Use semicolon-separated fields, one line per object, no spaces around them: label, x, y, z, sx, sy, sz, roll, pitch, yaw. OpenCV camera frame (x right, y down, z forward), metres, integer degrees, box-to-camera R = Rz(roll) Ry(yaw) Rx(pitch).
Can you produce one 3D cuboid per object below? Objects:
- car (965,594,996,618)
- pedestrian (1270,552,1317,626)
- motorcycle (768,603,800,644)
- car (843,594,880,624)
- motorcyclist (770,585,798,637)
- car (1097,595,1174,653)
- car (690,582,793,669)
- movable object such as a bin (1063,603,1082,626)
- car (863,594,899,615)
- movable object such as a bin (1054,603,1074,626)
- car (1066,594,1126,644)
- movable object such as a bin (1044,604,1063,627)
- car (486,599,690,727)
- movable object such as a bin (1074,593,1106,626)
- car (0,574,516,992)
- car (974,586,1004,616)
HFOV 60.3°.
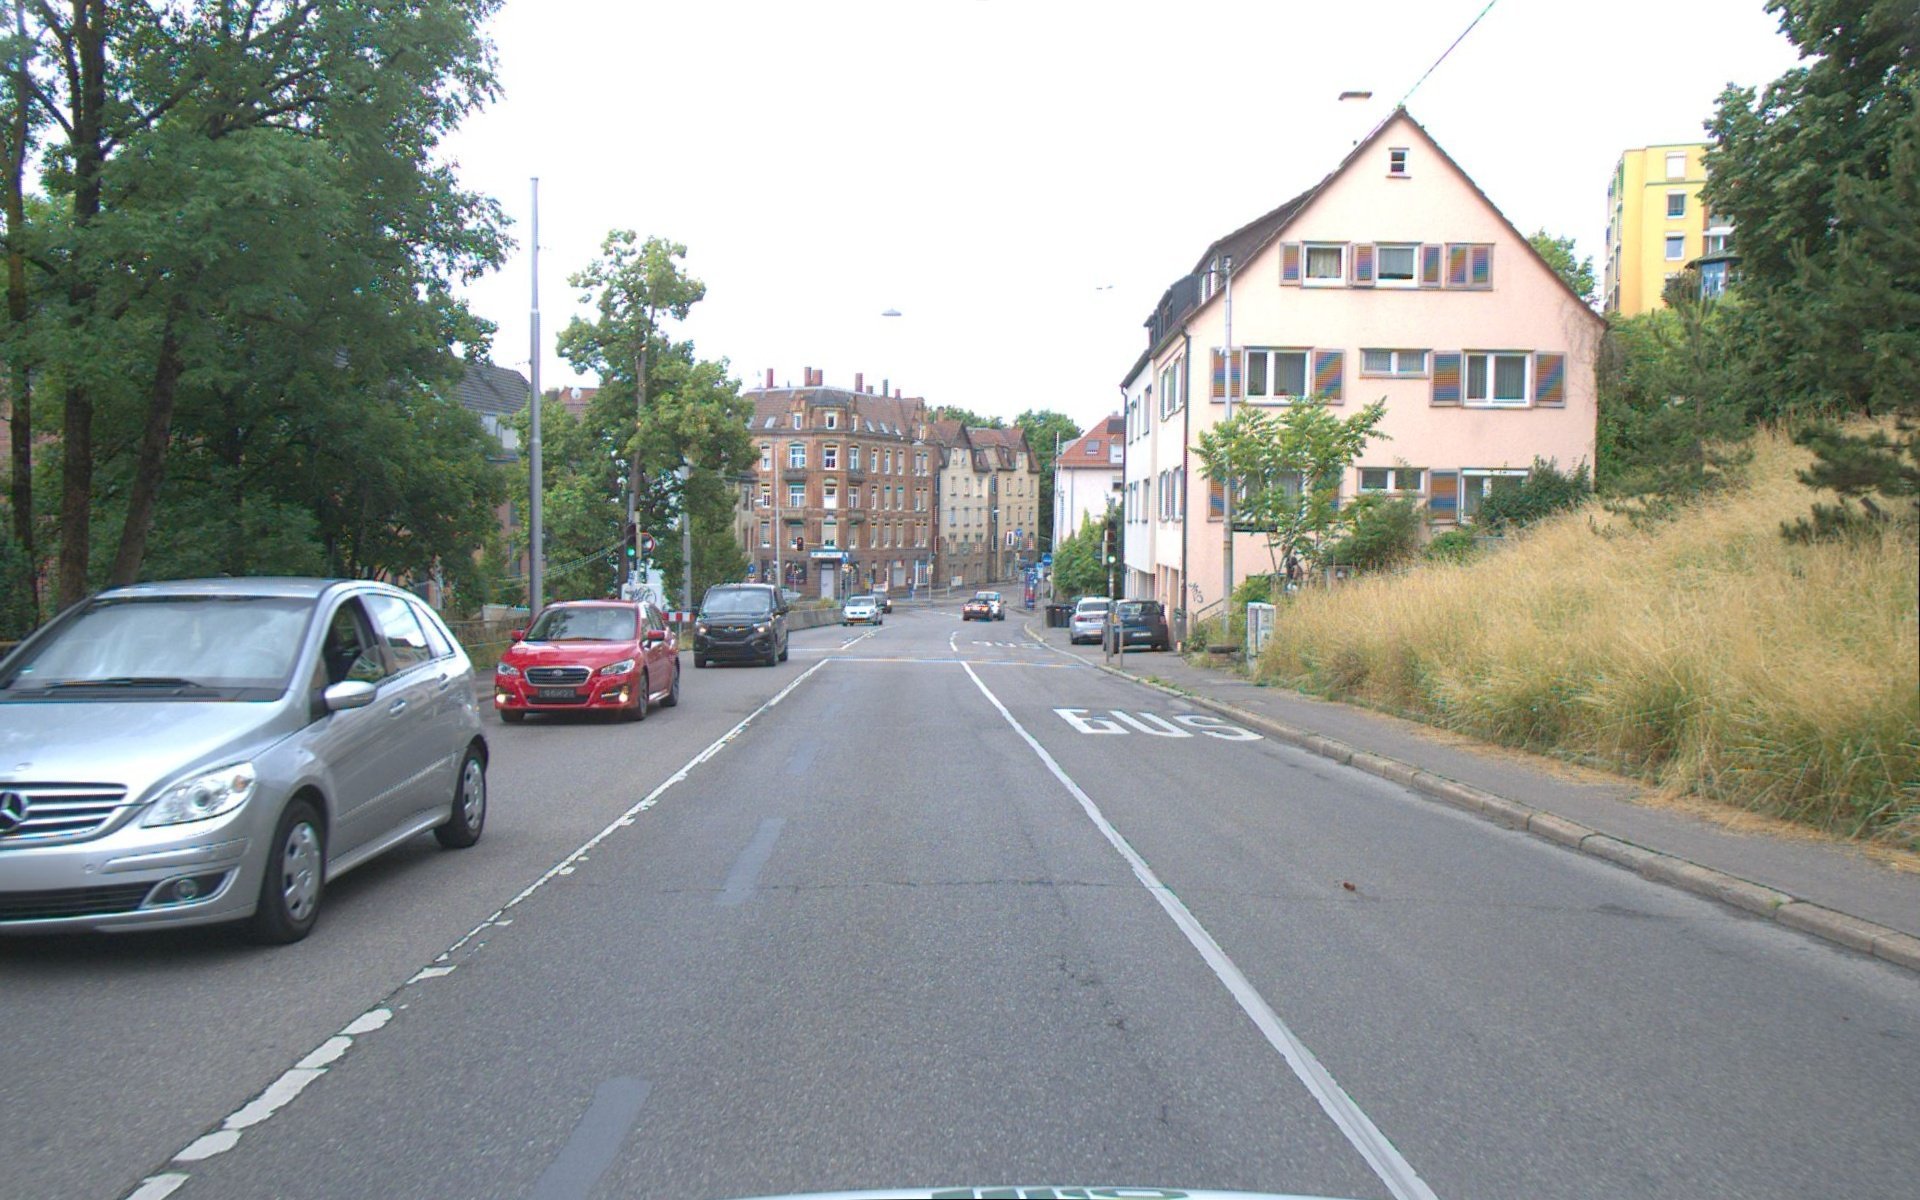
car;1.372;0.387;107.368;1.778;1.455;4.002;2;0;3
pedestrian;8.053;-0.261;39.964;0.869;1.725;0.872;2;-1;-5
motorcycle;-5.249;0.693;49.420;0.769;1.165;2.056;-1;0;-1
car;-4.933;0.449;83.588;1.685;1.470;4.158;-1;0;-1
motorcyclist;-5.252;0.327;49.430;0.769;1.542;0.668;-1;0;-2
car;4.967;0.666;47.156;1.647;1.476;3.999;-3;0;-1
car;-4.776;0.528;36.692;1.747;1.776;4.428;-1;0;-1
movable object such as a bin;5.198;0.677;76.452;0.730;1.077;0.676;1;-1;-16
car;-6.340;0.356;133.247;1.939;1.602;4.379;-1;0;11
movable object such as a bin;4.860;0.695;77.299;0.730;1.077;0.676;1;-1;-16
car;4.566;0.617;55.949;1.757;1.476;4.720;-3;1;2
movable object such as a bin;4.397;0.708;77.980;0.730;1.077;0.676;1;-1;-16
car;-4.728;0.737;21.639;1.748;1.485;4.427;-1;0;-1
movable object such as a bin;5.830;0.425;74.356;1.030;1.470;1.412;1;-1;-16
car;-3.697;0.707;8.517;1.748;1.602;4.279;-1;0;-1
car;2.015;0.079;114.124;1.869;1.917;4.002;2;0;3
